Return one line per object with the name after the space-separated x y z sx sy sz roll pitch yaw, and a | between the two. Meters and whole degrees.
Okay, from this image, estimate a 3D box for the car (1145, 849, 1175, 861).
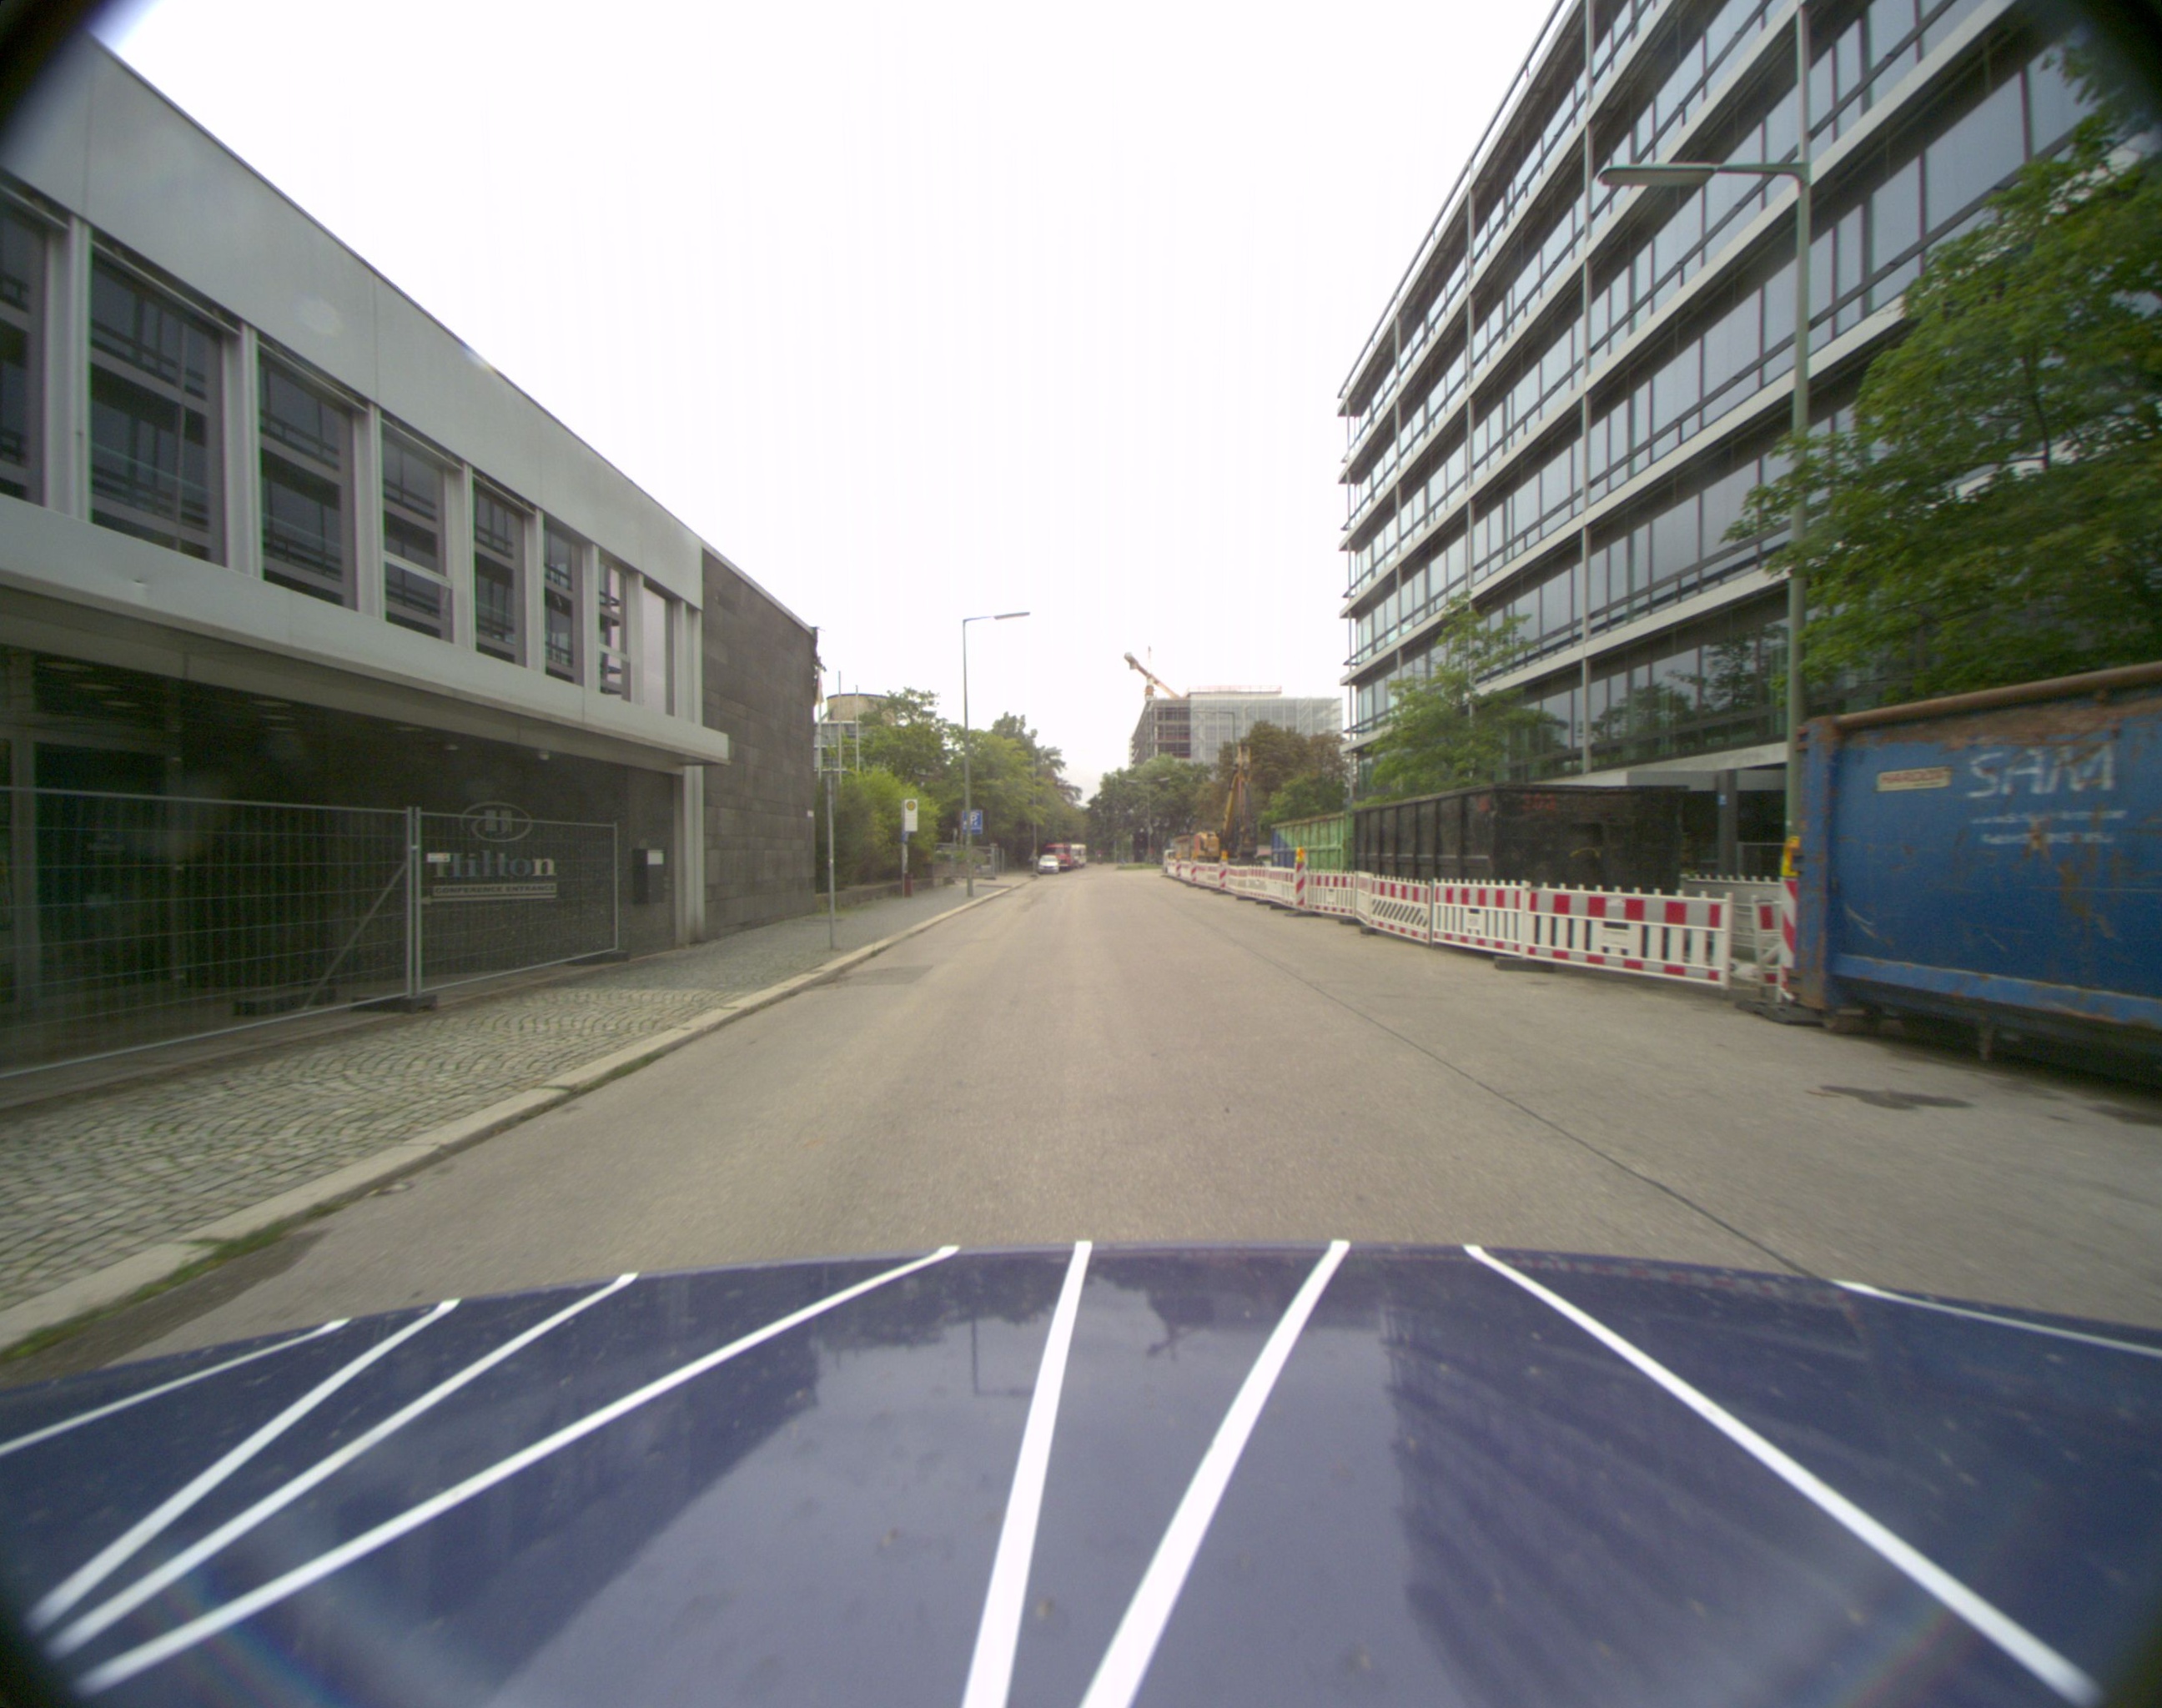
11.223 0.122 107.639 3.891 1.564 1.786 0 2 -22 | car

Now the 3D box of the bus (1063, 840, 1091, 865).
-0.368 -0.159 83.507 2.076 2.714 5.871 0 0 10 | bus

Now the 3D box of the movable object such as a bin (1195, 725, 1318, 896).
7.617 -1.730 35.030 2.911 6.526 11.782 0 1 0 | movable object such as a bin

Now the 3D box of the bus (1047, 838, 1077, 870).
-1.671 -0.031 69.623 2.077 2.789 6.274 0 0 5 | bus

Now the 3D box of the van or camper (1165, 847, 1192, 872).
8.393 0.459 66.101 1.993 2.022 5.588 1 0 4 | van or camper

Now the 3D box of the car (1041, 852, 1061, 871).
-2.466 0.581 62.857 1.536 1.483 4.059 0 1 -2 | car
